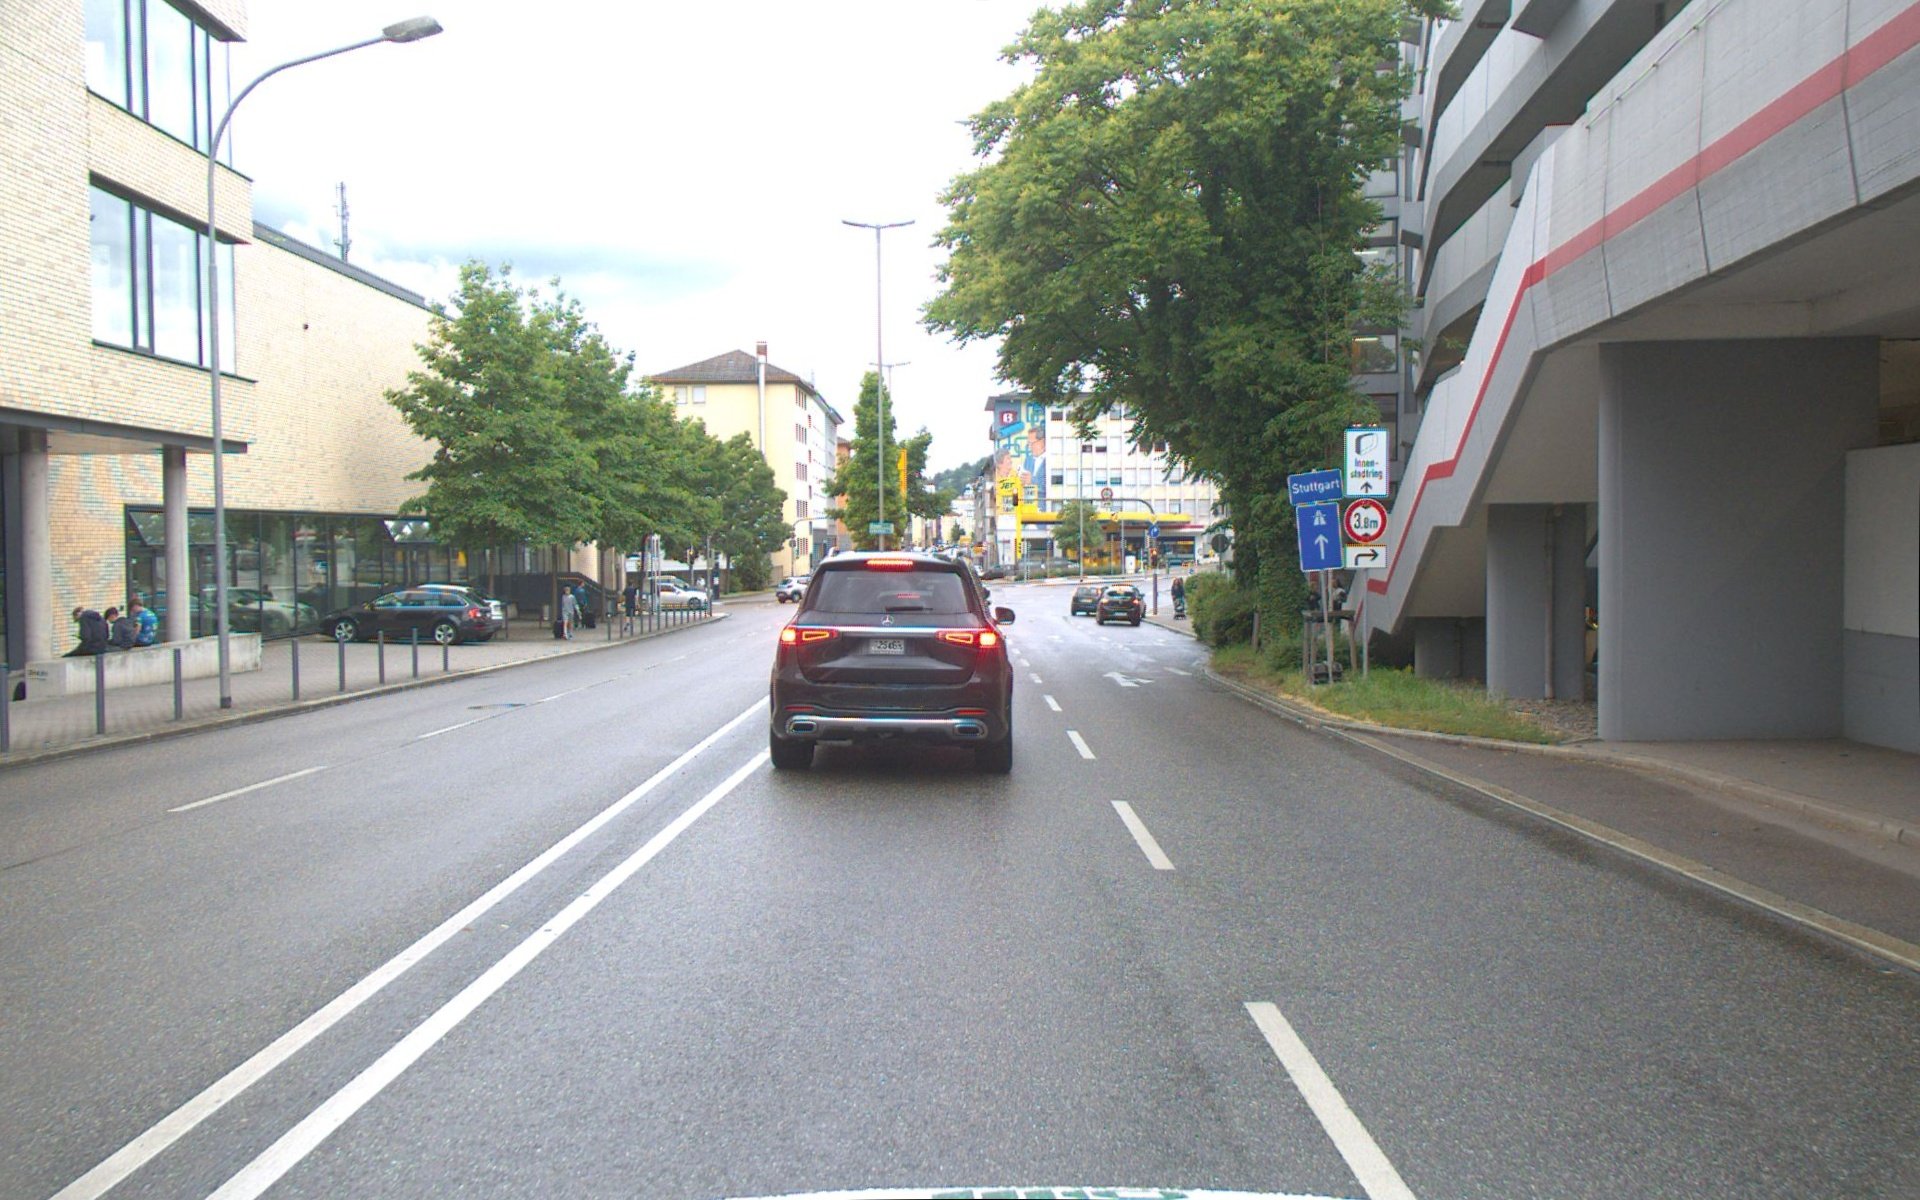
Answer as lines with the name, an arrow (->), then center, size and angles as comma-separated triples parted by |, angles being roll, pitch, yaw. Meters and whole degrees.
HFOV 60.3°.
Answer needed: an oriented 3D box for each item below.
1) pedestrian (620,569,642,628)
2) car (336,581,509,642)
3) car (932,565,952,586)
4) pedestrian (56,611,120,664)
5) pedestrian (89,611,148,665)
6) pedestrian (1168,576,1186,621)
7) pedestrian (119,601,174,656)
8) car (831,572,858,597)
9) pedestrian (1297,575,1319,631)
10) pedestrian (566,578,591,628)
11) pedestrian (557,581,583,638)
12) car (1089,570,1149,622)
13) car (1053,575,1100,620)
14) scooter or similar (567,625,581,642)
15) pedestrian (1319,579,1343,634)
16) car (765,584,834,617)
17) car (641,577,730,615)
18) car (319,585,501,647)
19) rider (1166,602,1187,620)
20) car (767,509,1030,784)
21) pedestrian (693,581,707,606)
pedestrian -> -11.648, -0.043, 58.587 | 0.576, 2.049, 0.749 | 1, -1, -2
car -> -15.341, 0.308, 47.387 | 4.330, 1.601, 1.998 | 1, 2, -5
car -> -1.795, -2.454, 166.453 | 1.953, 2.049, 3.999 | -1, 0, -1
pedestrian -> -13.760, 0.589, 26.109 | 0.585, 0.800, 0.760 | 1, 0, 0
pedestrian -> -13.749, 0.615, 27.028 | 0.574, 0.859, 0.727 | 0, 0, 0
pedestrian -> 9.486, -0.055, 72.236 | 0.648, 1.951, 0.729 | 1, -1, 14
pedestrian -> -13.865, 0.485, 28.197 | 0.667, 0.901, 0.524 | 1, -1, 0
car -> -9.342, -1.245, 133.904 | 1.953, 1.908, 5.140 | 1, 0, -2
pedestrian -> 9.831, 0.085, 46.692 | 0.539, 1.559, 0.488 | 1, -1, 6
pedestrian -> -13.610, 0.117, 58.972 | 0.674, 1.756, 0.754 | 1, -2, -1
pedestrian -> -12.172, 0.301, 51.620 | 0.662, 1.727, 0.479 | 1, -2, -1
car -> 6.471, -0.195, 67.655 | 1.953, 2.049, 3.999 | 1, 1, -2
car -> 5.573, -0.115, 79.475 | 1.953, 2.049, 4.000 | 1, 0, 0
scooter or similar -> -12.152, 1.043, 52.034 | 0.274, 0.509, 0.616 | 1, 0, 0
pedestrian -> 10.458, 0.191, 46.663 | 0.569, 1.527, 0.504 | 1, -1, 6
car -> -9.563, 0.017, 98.445 | 3.917, 1.976, 1.994 | 0, 0, -12
car -> -15.059, -0.233, 90.959 | 4.714, 2.049, 1.997 | 0, 1, -8
car -> -14.985, 0.431, 45.254 | 4.382, 1.615, 1.997 | 1, 0, -7
rider -> 9.430, 0.494, 71.872 | 0.621, 0.753, 0.692 | 1, -1, 41
car -> -0.510, 0.364, 14.627 | 1.953, 2.049, 3.999 | 1, 0, -1
pedestrian -> -15.388, -0.385, 97.973 | 0.697, 1.487, 0.598 | 1, -1, -1
